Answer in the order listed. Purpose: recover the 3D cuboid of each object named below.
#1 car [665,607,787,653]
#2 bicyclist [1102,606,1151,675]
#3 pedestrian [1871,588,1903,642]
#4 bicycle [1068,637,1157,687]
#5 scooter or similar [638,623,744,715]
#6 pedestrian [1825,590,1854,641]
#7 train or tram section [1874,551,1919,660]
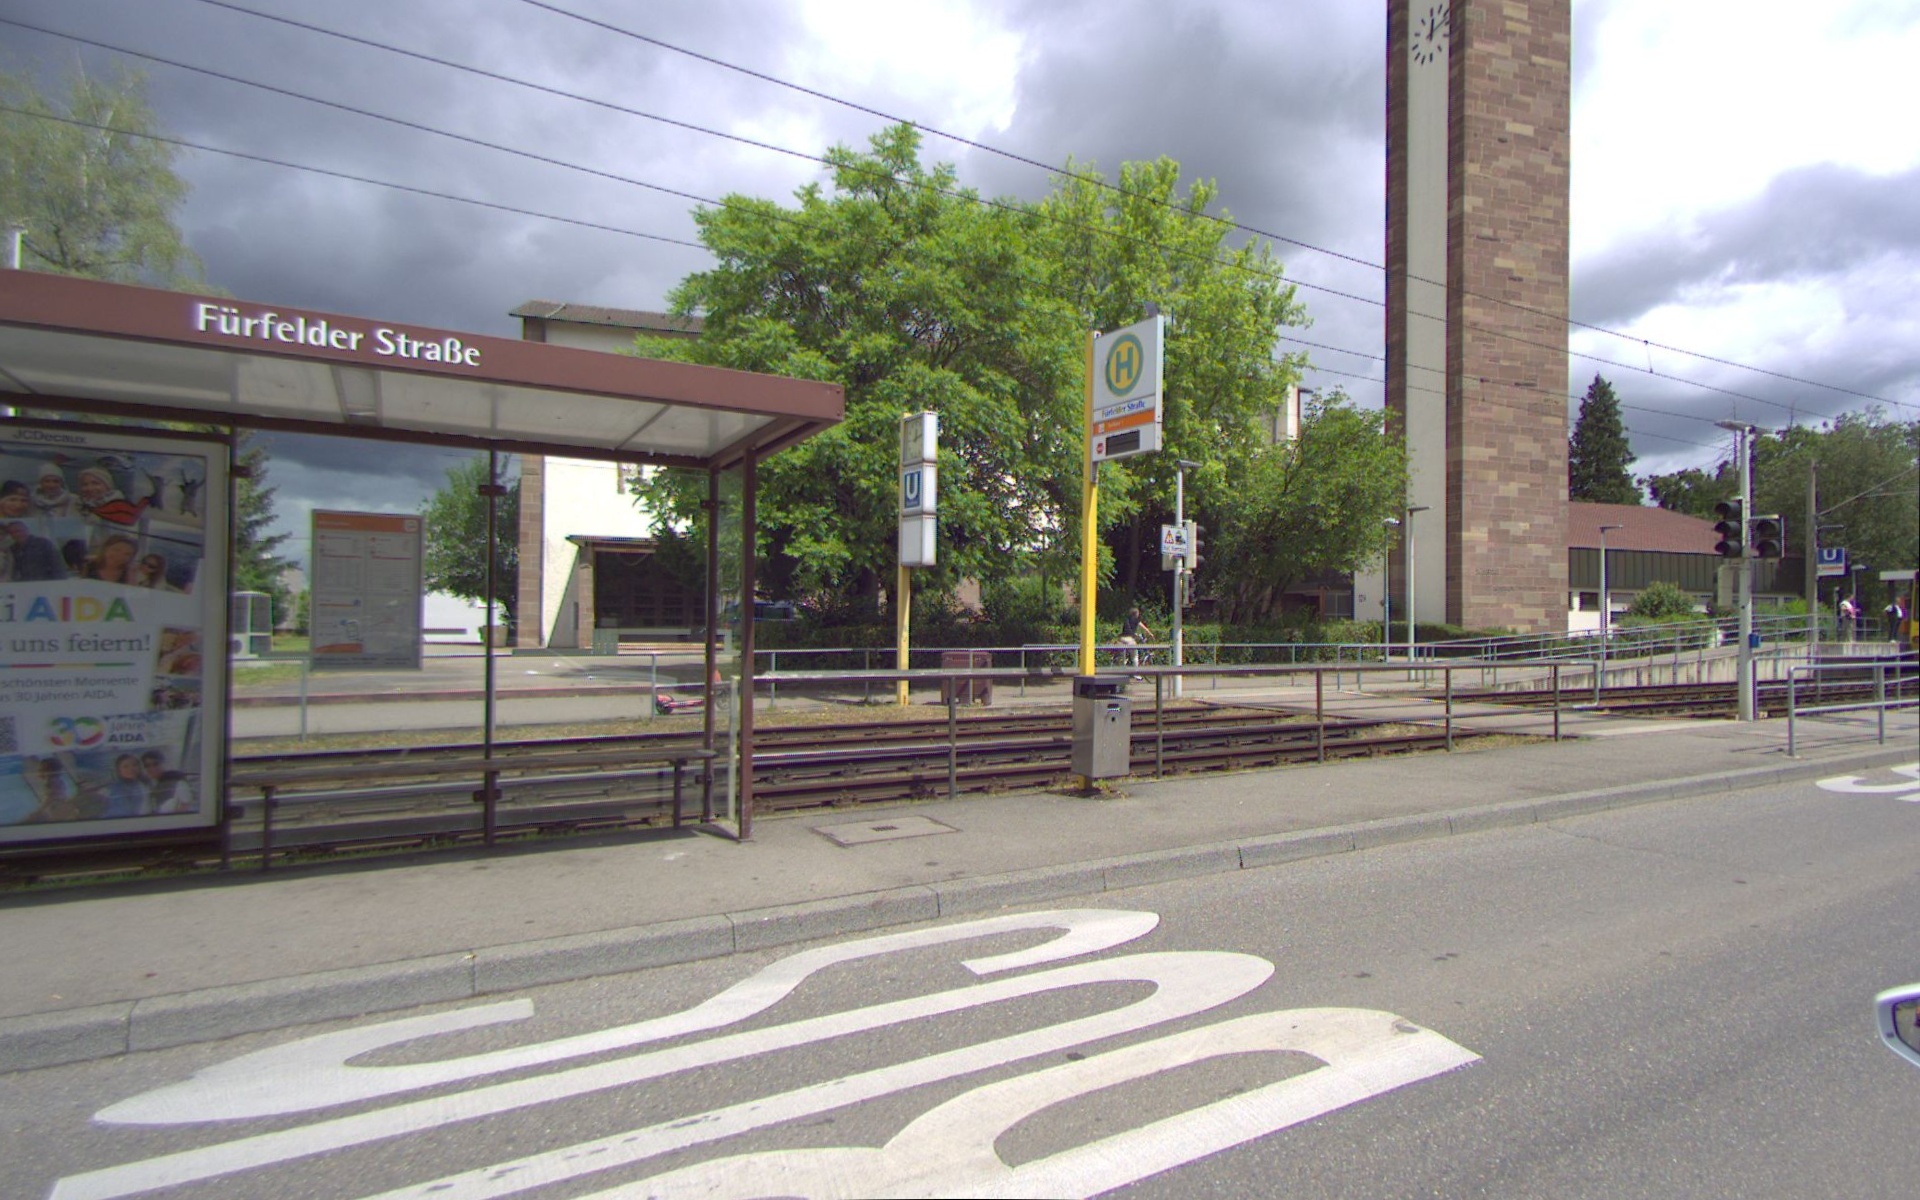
[{"bbox_3d":[-8.889,1.148,38.373,4.399,1.595,1.995,1,0,-13],"label":"car"},{"bbox_3d":[3.587,0.871,21.670,0.781,1.448,0.630,1,1,-30],"label":"bicyclist"},{"bbox_3d":[35.428,0.579,38.395,0.724,2.040,0.708,1,1,-32],"label":"pedestrian"},{"bbox_3d":[3.277,1.304,21.489,1.906,1.007,0.634,1,0,-31],"label":"bicycle"},{"bbox_3d":[-3.918,0.976,14.648,1.384,1.253,0.646,0,1,-30],"label":"scooter or similar"},{"bbox_3d":[31.717,0.563,36.229,0.569,1.801,0.581,1,1,-30],"label":"pedestrian"},{"bbox_3d":[39.279,0.365,36.943,18.608,3.511,3.092,1,0,-31],"label":"train or tram section"}]
